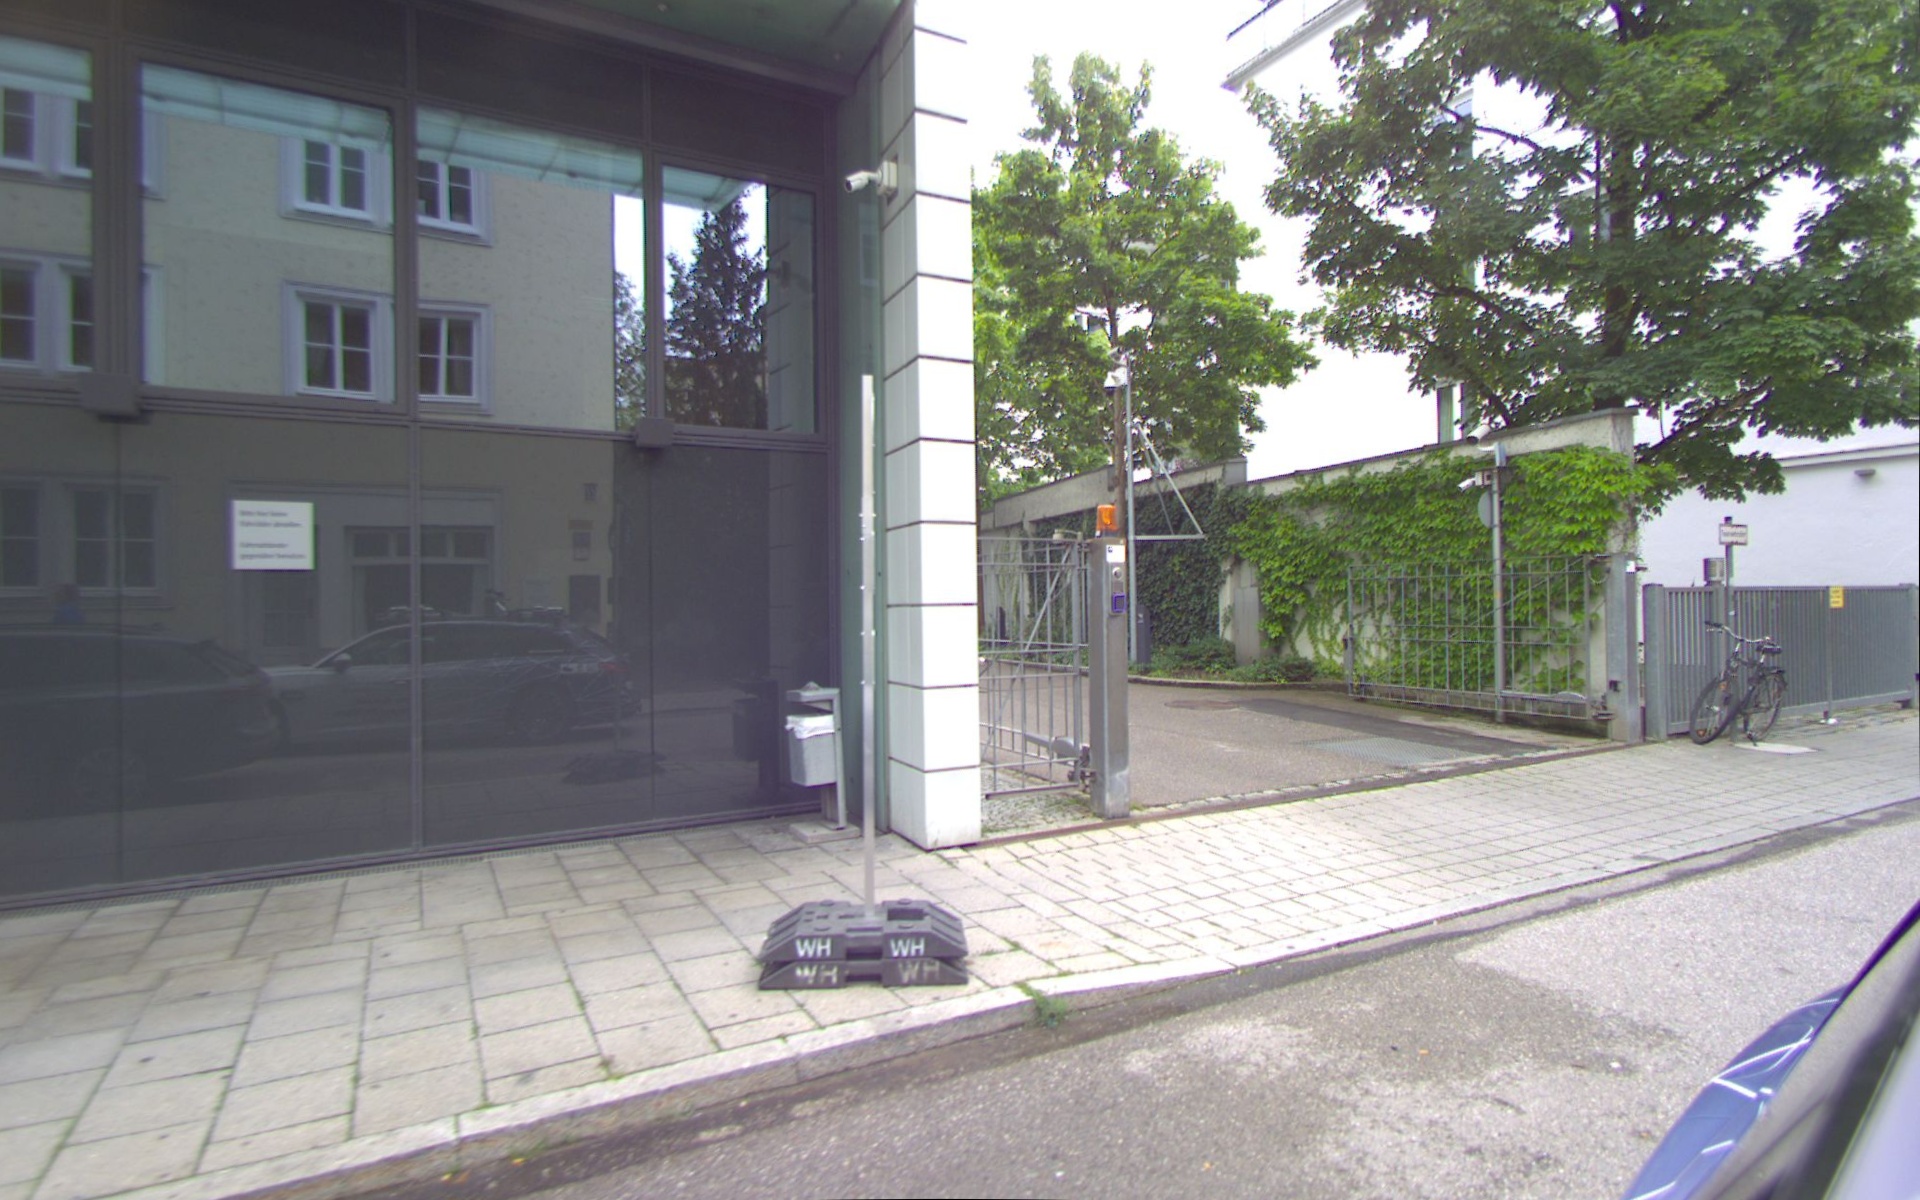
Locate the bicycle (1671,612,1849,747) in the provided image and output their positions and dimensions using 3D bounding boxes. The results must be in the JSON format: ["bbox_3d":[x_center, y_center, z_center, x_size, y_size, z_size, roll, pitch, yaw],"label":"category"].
[{"bbox_3d":[7.827,0.758,9.888,1.796,1.214,0.710,3,-2,-28],"label":"bicycle"}]
